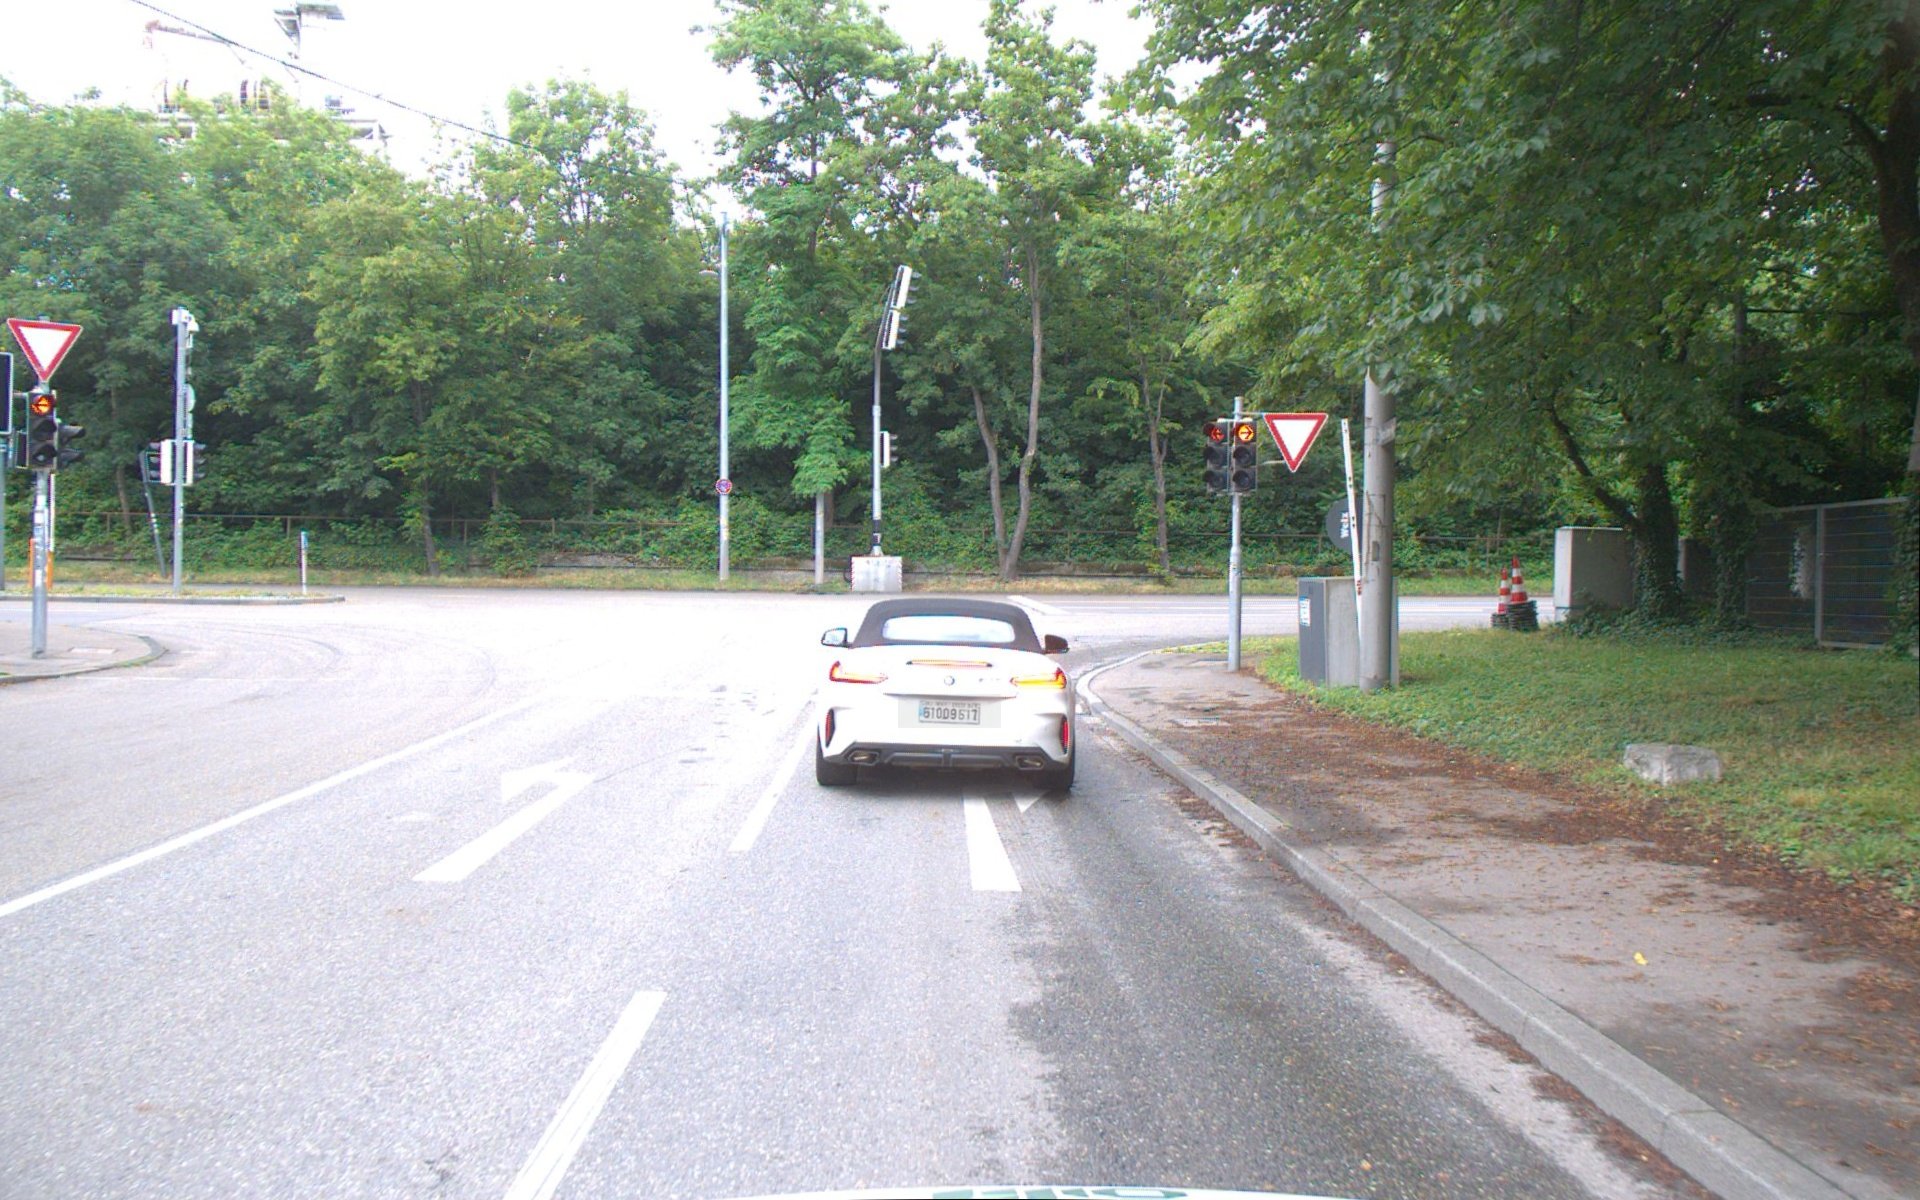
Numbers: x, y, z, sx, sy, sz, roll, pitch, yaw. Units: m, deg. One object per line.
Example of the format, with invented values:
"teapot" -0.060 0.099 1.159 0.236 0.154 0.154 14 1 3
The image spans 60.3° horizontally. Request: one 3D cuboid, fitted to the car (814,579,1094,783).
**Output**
"car" -0.155 0.558 12.751 1.791 1.279 3.997 2 -1 -4
